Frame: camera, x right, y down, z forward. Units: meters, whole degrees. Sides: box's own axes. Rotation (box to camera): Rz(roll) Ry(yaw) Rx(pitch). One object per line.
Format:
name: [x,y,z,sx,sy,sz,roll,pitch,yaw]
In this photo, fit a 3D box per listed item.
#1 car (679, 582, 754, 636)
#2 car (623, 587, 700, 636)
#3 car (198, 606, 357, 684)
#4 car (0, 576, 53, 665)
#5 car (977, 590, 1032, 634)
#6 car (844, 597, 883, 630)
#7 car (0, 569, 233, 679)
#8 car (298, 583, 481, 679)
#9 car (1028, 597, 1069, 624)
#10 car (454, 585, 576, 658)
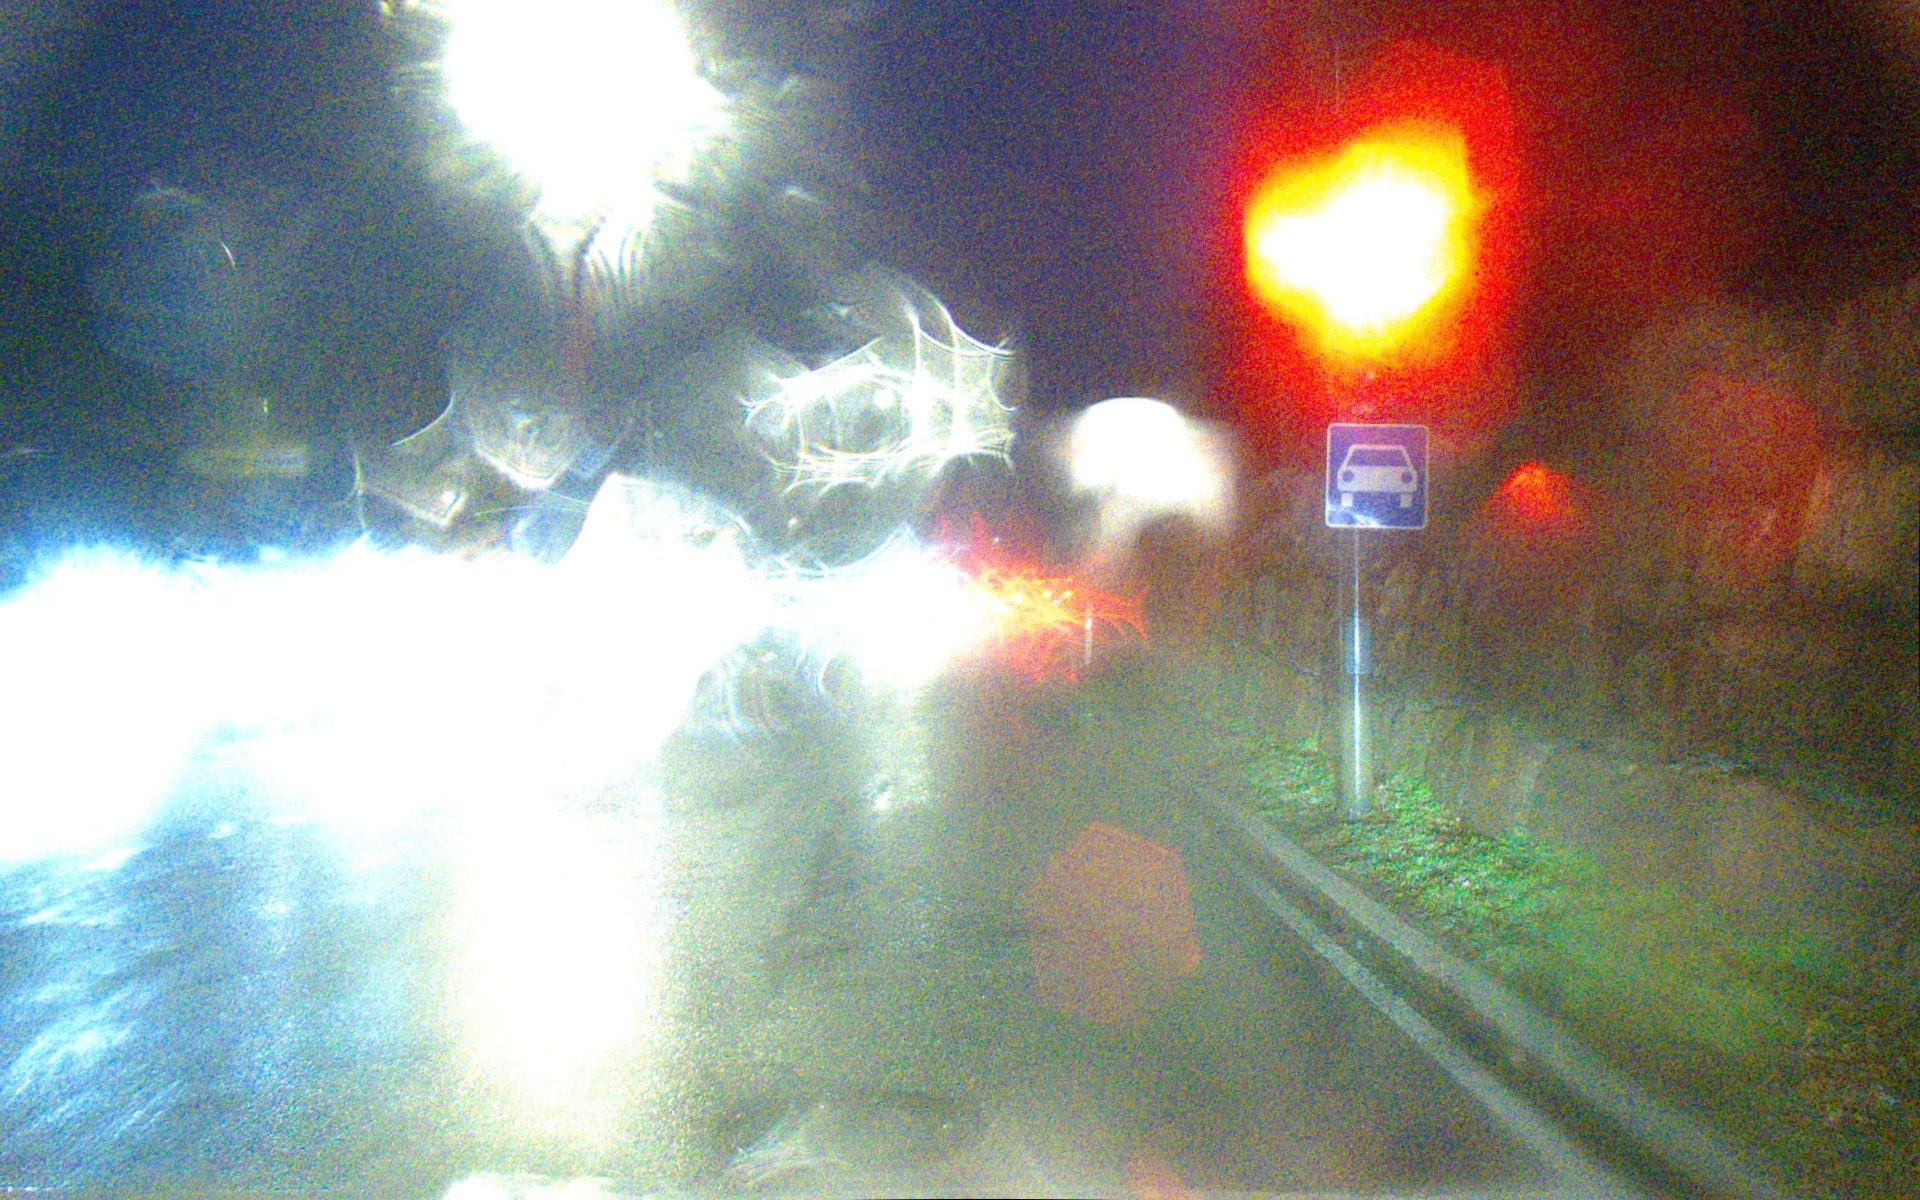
car: [-8.102,0.296,55.326,1.682,1.733,4.144,0,-1,3]
car: [-10.886,0.441,60.584,1.952,1.750,4.001,0,-1,2]
car: [-13.684,0.882,33.374,1.634,1.479,3.727,0,-1,0]
car: [-21.588,0.440,35.051,3.958,1.863,1.699,-1,1,-38]
car: [1.696,0.477,63.905,1.953,1.639,4.102,0,-1,-1]
car: [-4.581,0.656,78.989,1.673,1.561,4.599,0,-1,-1]
car: [-13.681,0.346,26.683,1.755,1.599,4.913,0,0,-1]
car: [-10.217,0.513,30.000,1.664,1.599,4.712,0,0,0]
car: [4.905,0.600,92.103,2.060,1.464,3.999,0,-1,-1]
car: [-9.910,0.481,37.074,1.552,1.552,3.653,0,-1,3]
